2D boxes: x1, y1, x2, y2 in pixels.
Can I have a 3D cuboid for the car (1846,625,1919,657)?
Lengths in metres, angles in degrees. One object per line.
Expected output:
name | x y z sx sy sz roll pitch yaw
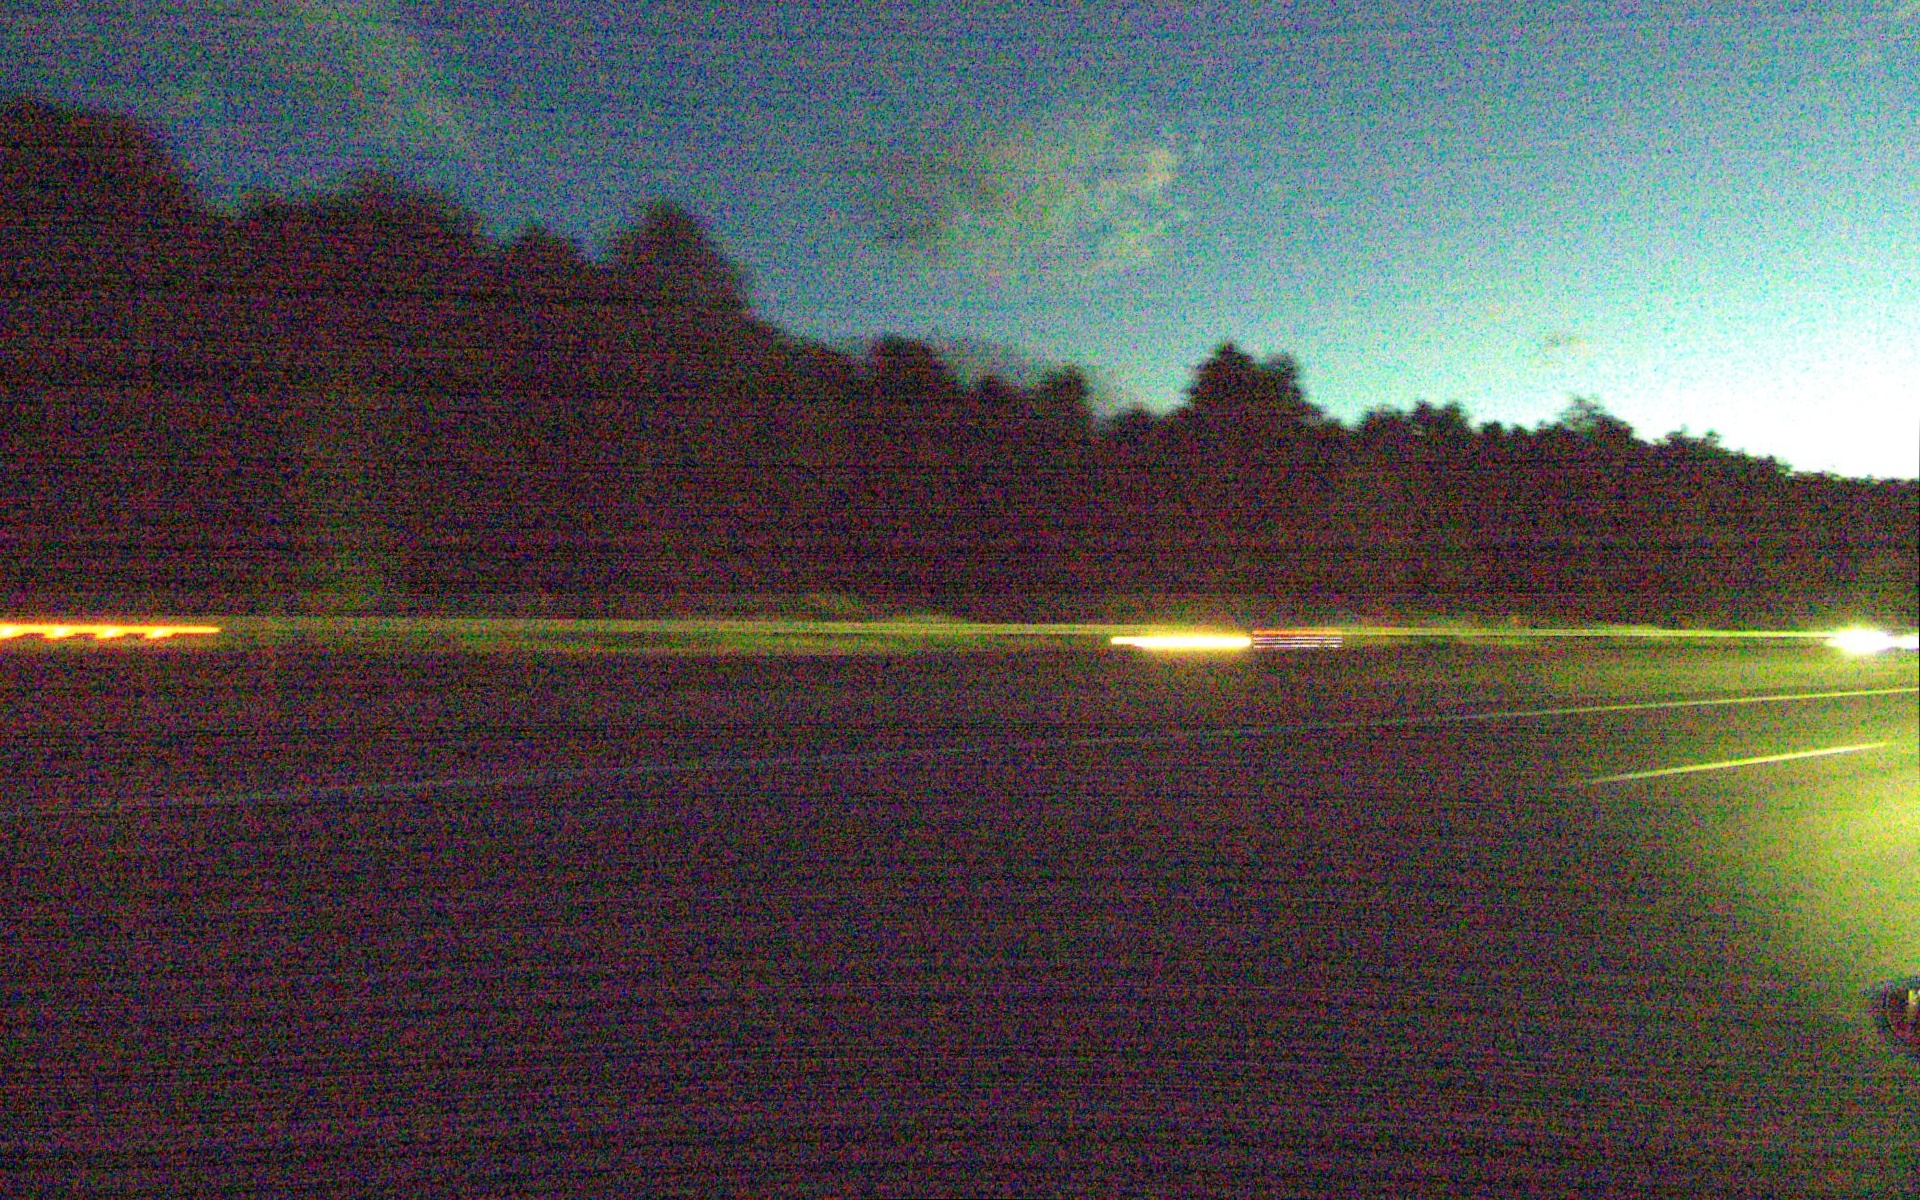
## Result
car | 42.570 1.890 45.747 4.345 1.350 1.985 2 -1 -28

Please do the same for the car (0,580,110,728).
car | -11.552 0.489 10.156 4.158 1.488 1.984 2 -1 -30

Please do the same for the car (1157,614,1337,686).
car | 7.402 1.268 25.804 4.348 1.672 1.984 2 -1 -30
